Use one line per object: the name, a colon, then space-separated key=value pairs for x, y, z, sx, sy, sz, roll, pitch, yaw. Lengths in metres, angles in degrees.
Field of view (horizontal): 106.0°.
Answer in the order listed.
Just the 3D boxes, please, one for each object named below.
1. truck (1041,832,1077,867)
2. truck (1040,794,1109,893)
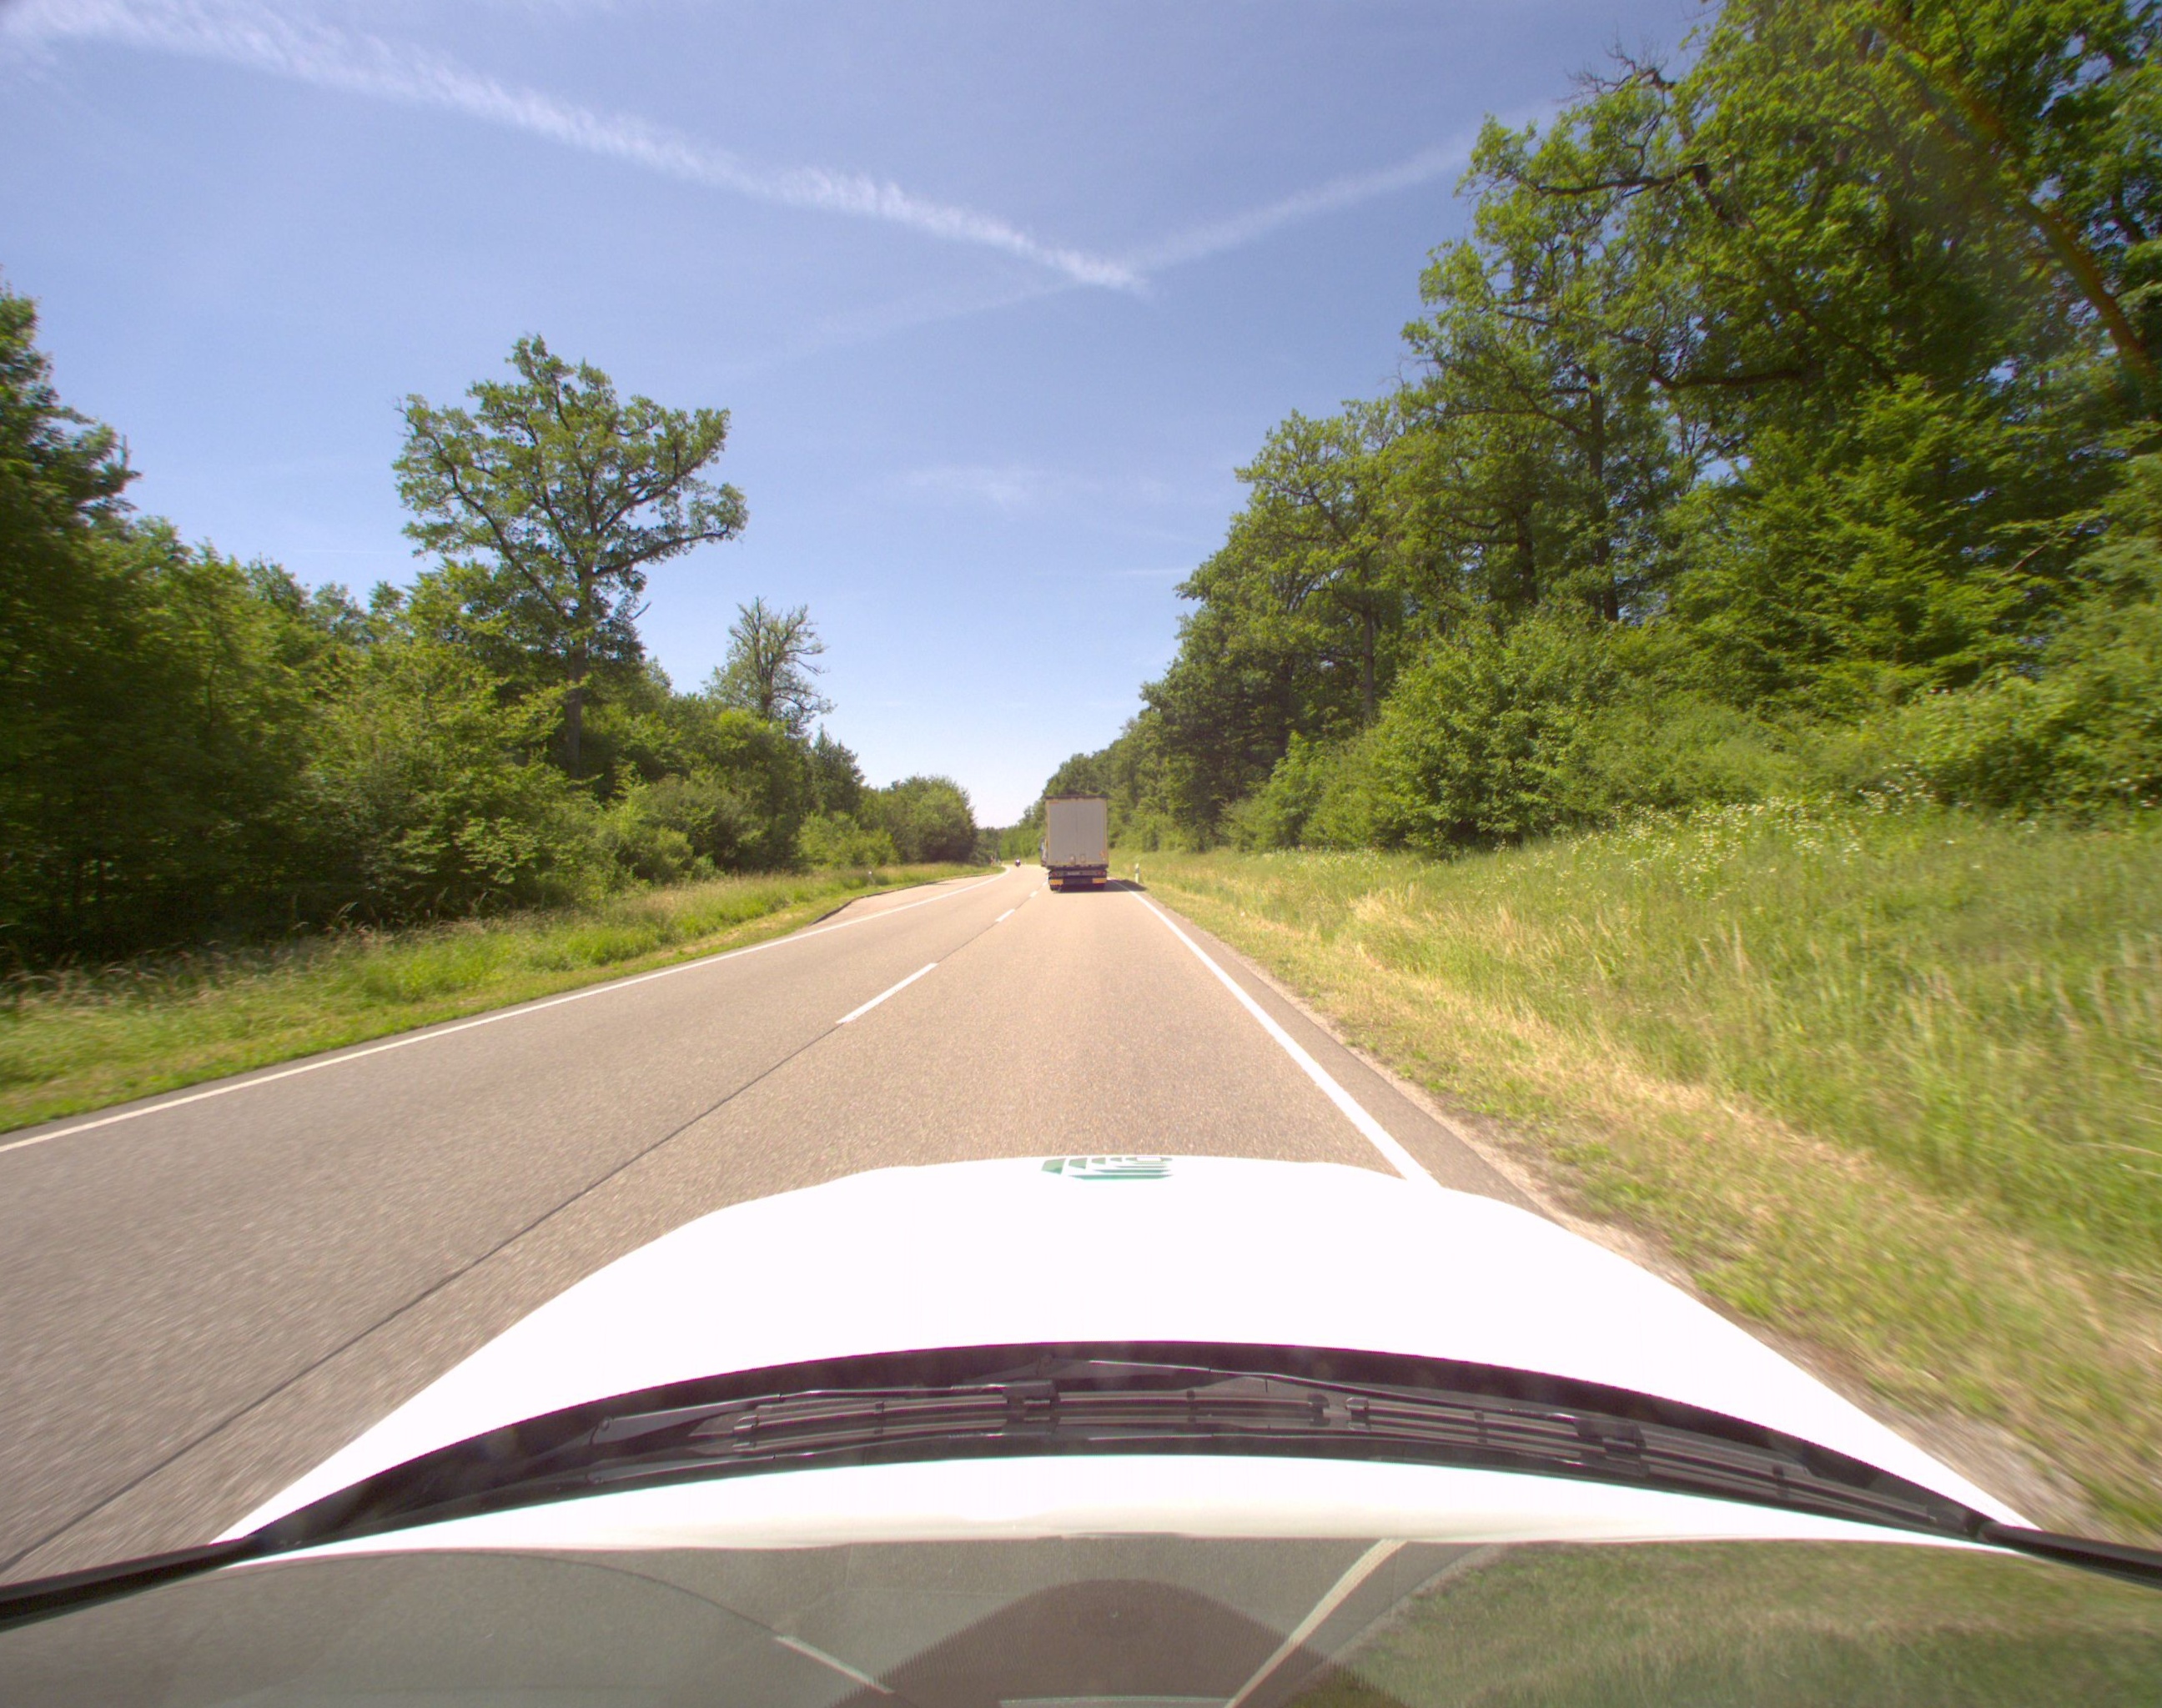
truck: x=-3.133 y=-0.527 z=108.321 sx=3.788 sy=4.373 sz=14.891 roll=0 pitch=0 yaw=-5
truck: x=-0.213 y=-0.417 z=39.167 sx=2.752 sy=3.947 sz=12.197 roll=-1 pitch=0 yaw=0
